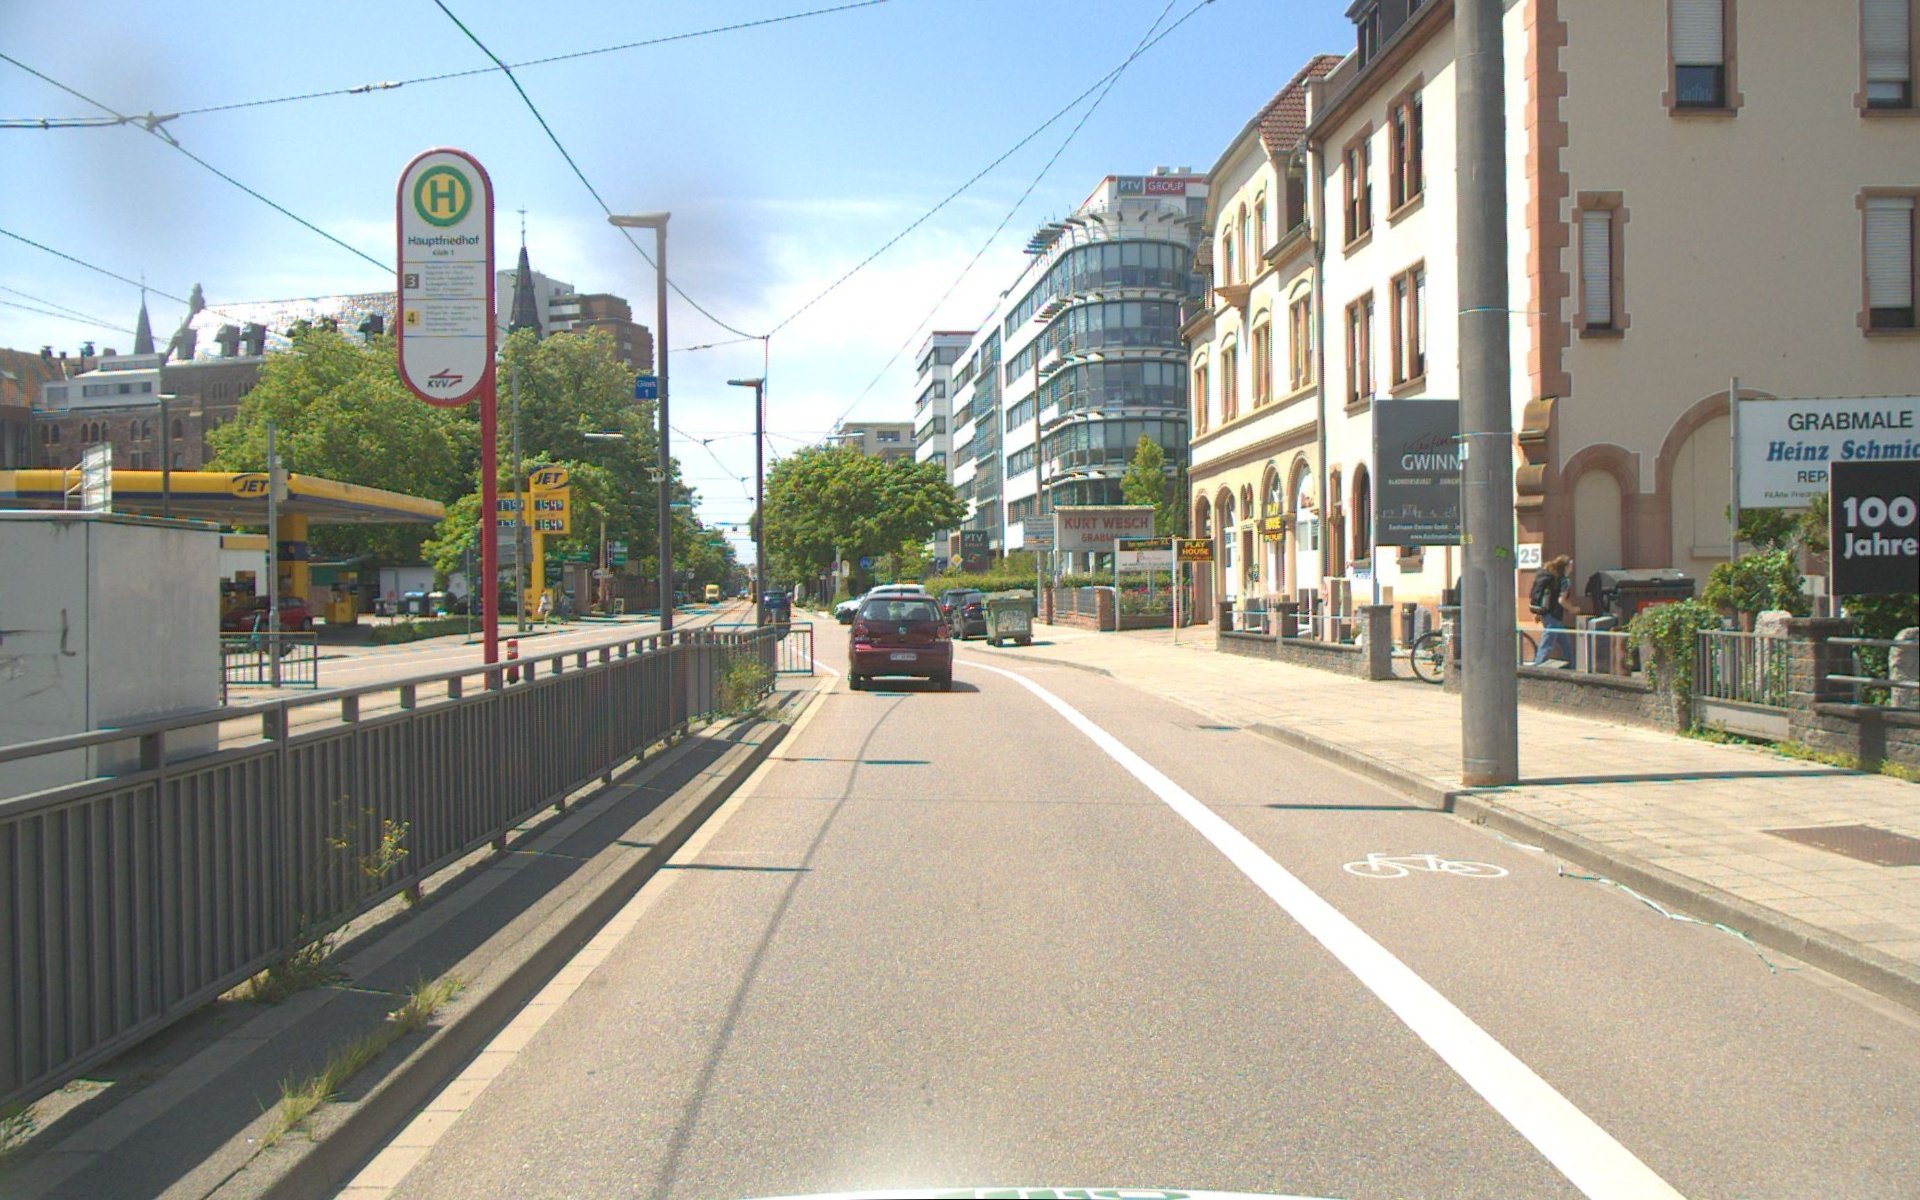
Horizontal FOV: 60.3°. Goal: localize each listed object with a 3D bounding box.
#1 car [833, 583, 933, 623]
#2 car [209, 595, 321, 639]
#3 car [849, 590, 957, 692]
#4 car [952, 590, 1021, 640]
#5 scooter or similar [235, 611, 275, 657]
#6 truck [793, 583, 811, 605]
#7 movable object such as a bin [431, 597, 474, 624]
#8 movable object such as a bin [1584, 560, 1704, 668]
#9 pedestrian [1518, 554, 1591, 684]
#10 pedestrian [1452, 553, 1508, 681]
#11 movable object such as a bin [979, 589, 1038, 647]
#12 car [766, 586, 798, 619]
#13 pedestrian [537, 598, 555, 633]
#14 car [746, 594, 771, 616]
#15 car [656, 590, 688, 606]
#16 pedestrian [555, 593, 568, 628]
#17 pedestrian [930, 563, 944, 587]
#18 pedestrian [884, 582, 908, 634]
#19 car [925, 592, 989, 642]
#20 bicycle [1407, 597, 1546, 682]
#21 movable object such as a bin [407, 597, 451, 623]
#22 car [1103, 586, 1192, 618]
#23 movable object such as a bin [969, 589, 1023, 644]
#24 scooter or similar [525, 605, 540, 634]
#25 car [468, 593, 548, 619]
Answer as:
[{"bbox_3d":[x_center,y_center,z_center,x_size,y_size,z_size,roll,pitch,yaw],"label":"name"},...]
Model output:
[{"bbox_3d":[-3.653,0.128,77.925,4.457,1.831,1.995,-1,0,-11],"label":"car"},{"bbox_3d":[-27.090,0.647,64.601,1.787,1.531,4.202,1,2,16],"label":"car"},{"bbox_3d":[-0.899,0.597,26.649,1.586,1.512,3.999,1,0,-1],"label":"car"},{"bbox_3d":[0.857,0.503,56.414,1.738,1.575,4.461,-3,0,-6],"label":"car"},{"bbox_3d":[-20.174,0.960,47.341,0.337,1.286,1.242,1,0,18],"label":"scooter or similar"},{"bbox_3d":[-19.232,-0.734,201.253,1.956,2.708,4.867,1,0,-7],"label":"truck"},{"bbox_3d":[-29.436,0.618,95.961,1.489,1.536,2.101,1,0,17],"label":"movable object such as a bin"},{"bbox_3d":[10.265,0.200,24.861,1.302,1.525,1.046,-2,0,-2],"label":"movable object such as a bin"},{"bbox_3d":[8.039,0.254,22.397,0.806,1.720,0.589,-1,0,8],"label":"pedestrian"},{"bbox_3d":[7.421,0.241,23.618,0.673,1.803,0.504,-1,0,8],"label":"pedestrian"},{"bbox_3d":[1.320,0.484,45.258,1.367,1.480,1.136,-3,1,-10],"label":"movable object such as a bin"},{"bbox_3d":[-11.361,0.126,105.343,1.956,2.049,3.993,1,0,-8],"label":"car"},{"bbox_3d":[-20.172,0.748,80.595,0.611,1.720,0.723,-1,0,7],"label":"pedestrian"},{"bbox_3d":[-16.639,0.405,136.776,1.955,1.769,3.995,-1,0,-6],"label":"car"},{"bbox_3d":[-38.755,-0.325,222.538,3.907,2.049,1.999,-1,0,-3],"label":"car"},{"bbox_3d":[-20.848,0.540,86.525,0.569,1.806,0.698,1,0,-10],"label":"pedestrian"},{"bbox_3d":[-1.676,-1.809,119.835,0.855,1.745,1.090,-2,0,2],"label":"pedestrian"},{"bbox_3d":[-2.491,0.307,64.541,0.769,1.994,0.586,-1,0,-22],"label":"pedestrian"},{"bbox_3d":[-0.155,0.587,62.630,1.887,1.722,5.076,-3,1,-6],"label":"car"},{"bbox_3d":[7.209,0.549,23.141,1.763,1.147,0.590,-1,0,7],"label":"bicycle"},{"bbox_3d":[-30.941,0.586,96.410,1.489,1.457,2.101,1,0,17],"label":"movable object such as a bin"},{"bbox_3d":[9.166,0.101,81.108,4.066,1.485,1.817,-1,0,-4],"label":"car"},{"bbox_3d":[1.029,0.467,47.423,1.300,1.480,1.055,-3,1,-10],"label":"movable object such as a bin"},{"bbox_3d":[-18.503,0.846,71.565,0.509,1.221,1.373,0,0,-9],"label":"scooter or similar"},{"bbox_3d":[-26.613,0.339,97.398,1.895,1.514,4.439,1,0,32],"label":"car"}]
